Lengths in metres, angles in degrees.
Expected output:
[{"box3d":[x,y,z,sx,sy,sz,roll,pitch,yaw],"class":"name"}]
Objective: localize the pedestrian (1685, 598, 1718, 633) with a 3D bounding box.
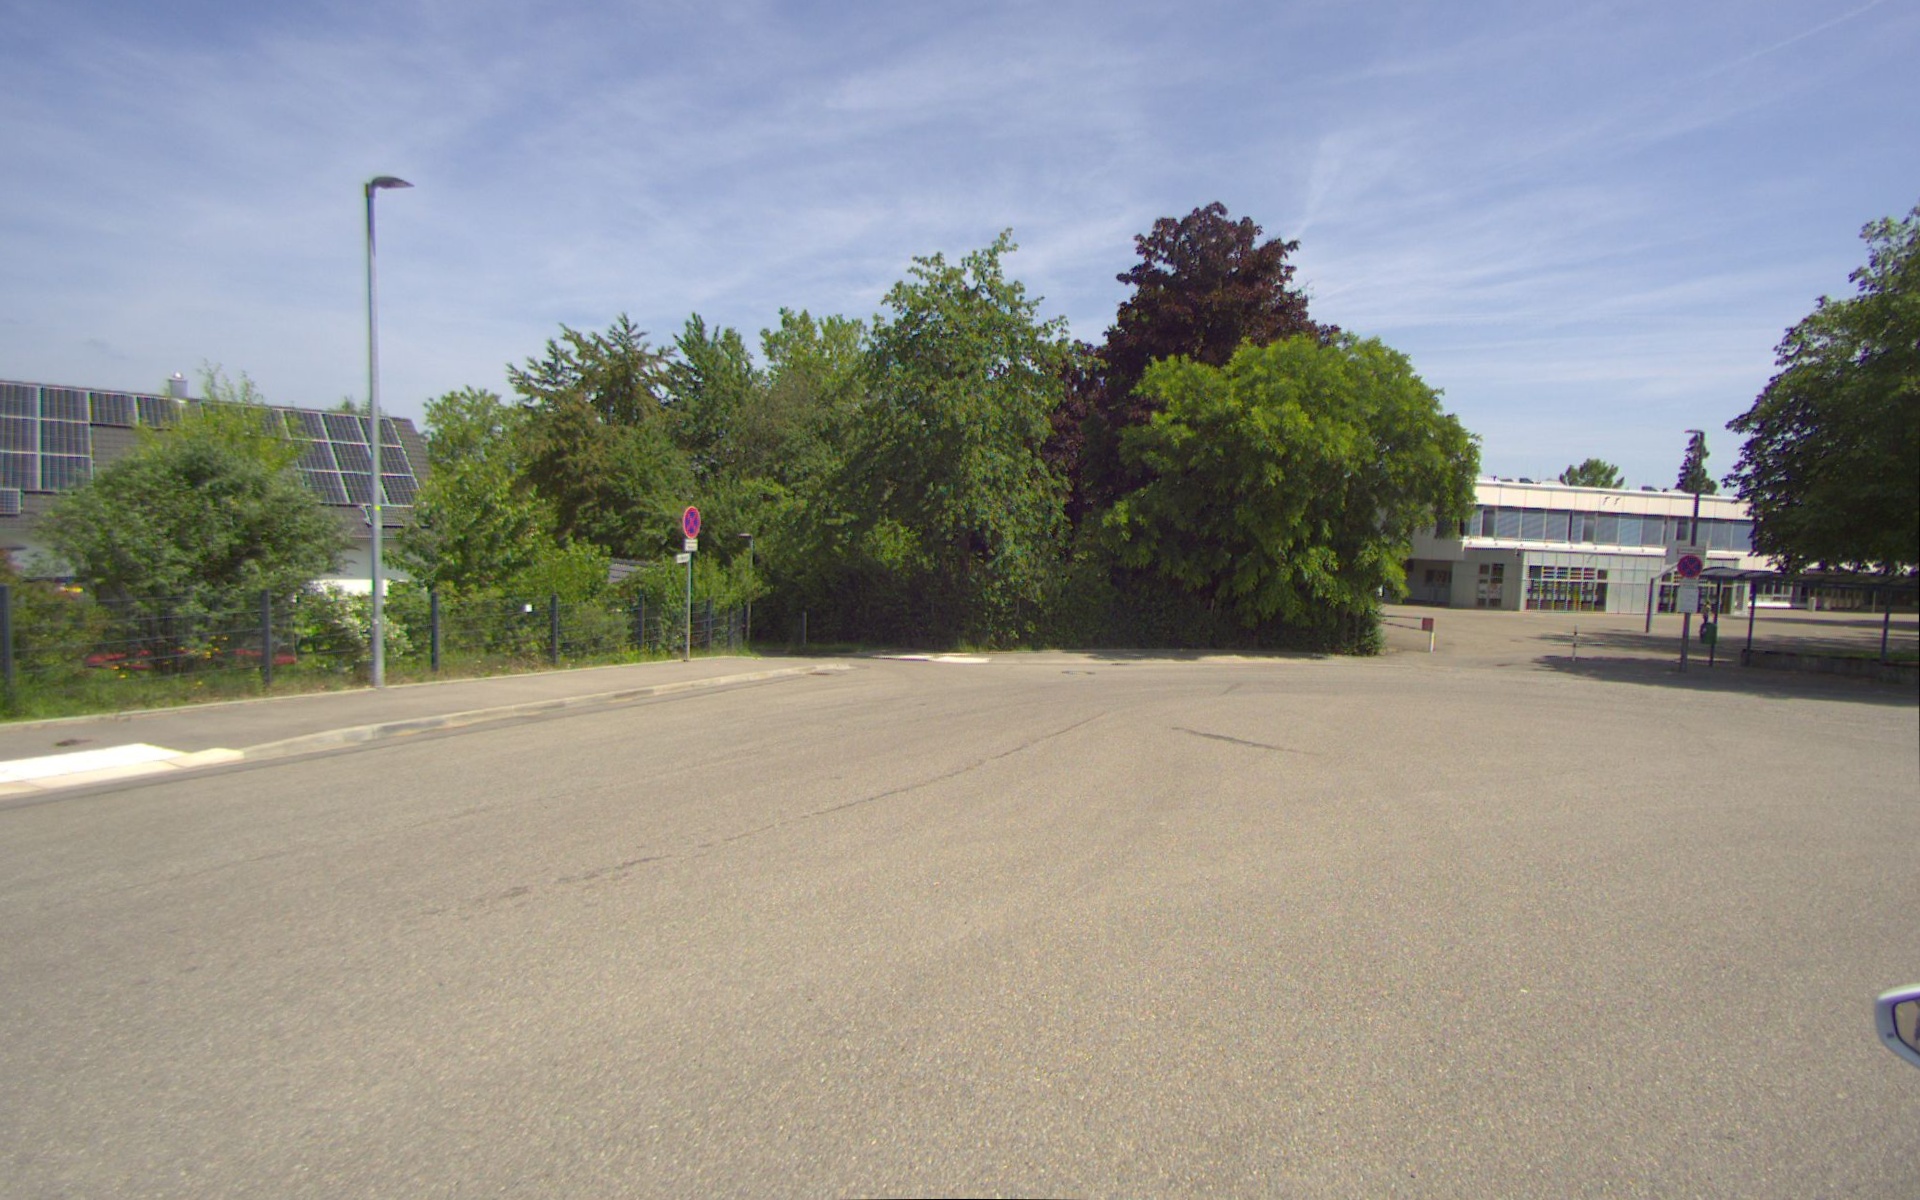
[{"box3d":[32.342,0.681,43.844,1.052,1.442,0.916,4,3,35],"class":"pedestrian"}]
